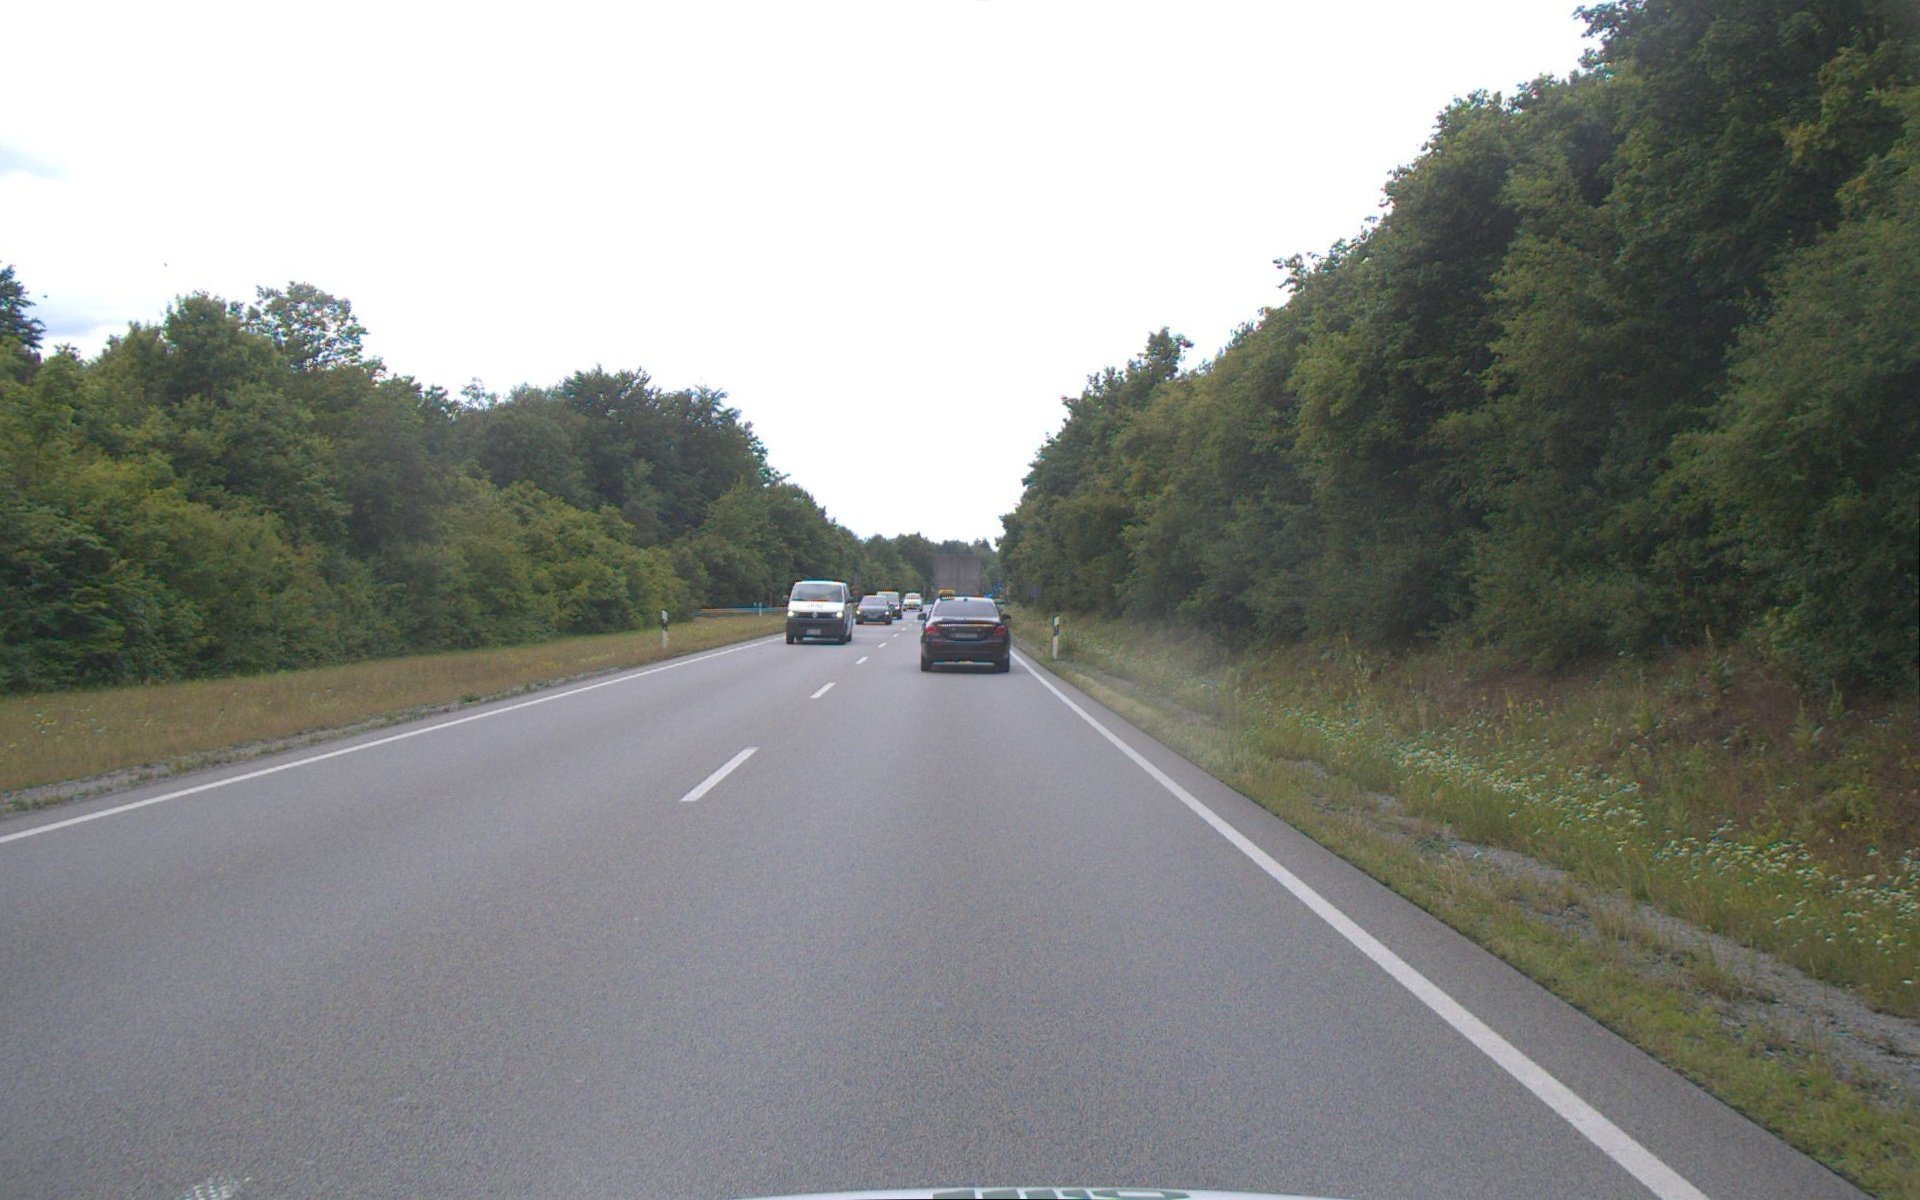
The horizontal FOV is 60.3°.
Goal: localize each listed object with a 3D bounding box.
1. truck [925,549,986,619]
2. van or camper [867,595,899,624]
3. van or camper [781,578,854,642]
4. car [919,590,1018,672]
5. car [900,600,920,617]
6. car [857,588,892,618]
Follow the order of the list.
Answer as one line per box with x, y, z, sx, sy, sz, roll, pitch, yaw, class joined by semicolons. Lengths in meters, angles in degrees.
-0.204;-0.841;94.147;3.213;3.675;11.400;1;0;0;truck
-4.949;0.598;106.491;1.954;1.814;4.419;1;0;-4;van or camper
-4.479;0.307;52.647;1.882;1.926;5.361;1;0;-1;van or camper
0.124;0.599;34.124;1.756;1.579;3.997;1;0;-4;car
-4.749;0.802;157.737;1.837;1.587;3.754;1;0;-1;car
-4.478;0.140;87.237;1.654;1.505;4.455;1;0;-1;car
